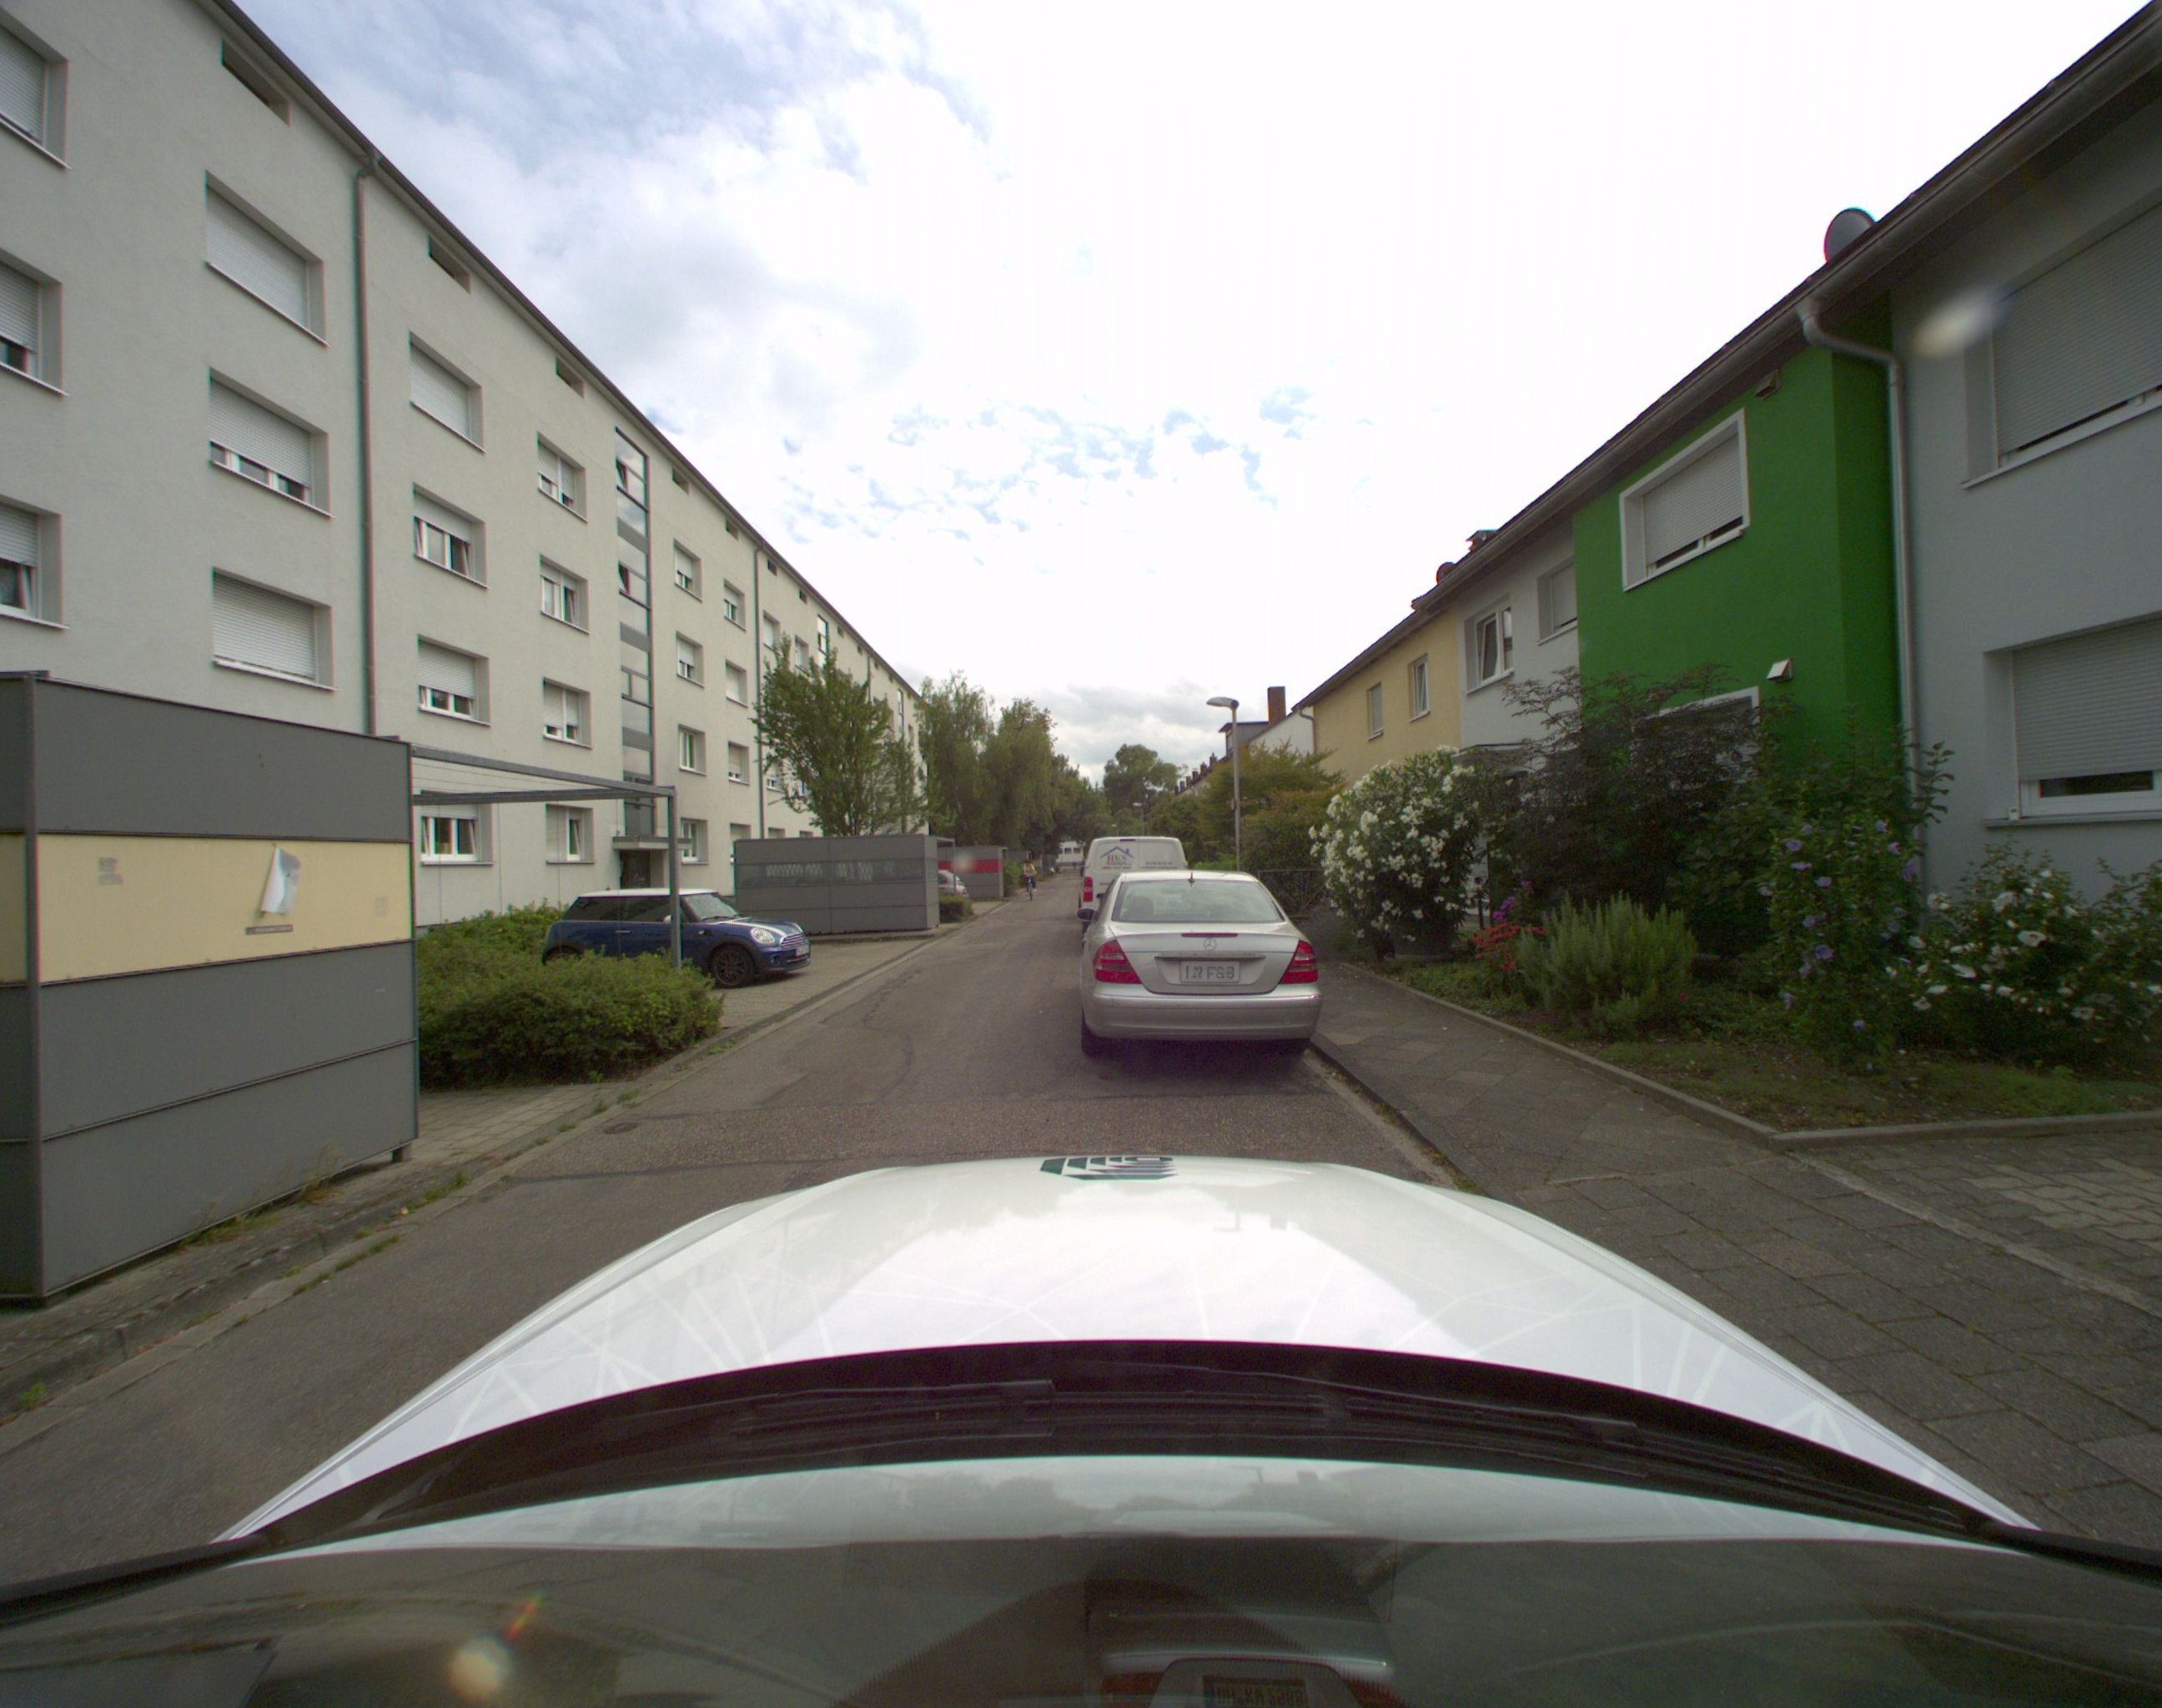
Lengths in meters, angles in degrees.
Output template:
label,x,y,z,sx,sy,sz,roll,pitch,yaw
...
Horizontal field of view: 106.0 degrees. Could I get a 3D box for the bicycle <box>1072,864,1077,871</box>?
label,x,y,z,sx,sy,sz,roll,pitch,yaw
bicycle,-1.081,2.227,136.365,0.686,1.131,2.580,0,-1,2

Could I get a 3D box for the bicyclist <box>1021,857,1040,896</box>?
label,x,y,z,sx,sy,sz,roll,pitch,yaw
bicyclist,-2.101,0.943,33.963,0.595,1.581,0.767,-3,-1,1

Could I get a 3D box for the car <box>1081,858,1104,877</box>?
label,x,y,z,sx,sy,sz,roll,pitch,yaw
car,0.954,1.102,67.830,1.820,1.581,3.998,0,0,-1

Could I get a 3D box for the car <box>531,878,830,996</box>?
label,x,y,z,sx,sy,sz,roll,pitch,yaw
car,-5.898,1.196,12.262,3.619,1.461,1.654,-3,-1,3

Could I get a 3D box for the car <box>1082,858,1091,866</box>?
label,x,y,z,sx,sy,sz,roll,pitch,yaw
car,1.202,1.678,165.530,1.819,1.581,4.000,0,0,1

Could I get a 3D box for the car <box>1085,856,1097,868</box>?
label,x,y,z,sx,sy,sz,roll,pitch,yaw
car,1.520,1.237,124.575,1.819,1.883,4.000,0,0,1

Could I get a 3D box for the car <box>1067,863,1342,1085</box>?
label,x,y,z,sx,sy,sz,roll,pitch,yaw
car,0.878,0.806,7.545,1.777,1.421,4.457,-1,-1,2

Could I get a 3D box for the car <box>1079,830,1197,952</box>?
label,x,y,z,sx,sy,sz,roll,pitch,yaw
car,0.924,0.623,15.899,1.898,1.964,5.252,-1,-1,0

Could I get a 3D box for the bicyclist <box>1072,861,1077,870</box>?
label,x,y,z,sx,sy,sz,roll,pitch,yaw
bicyclist,-1.078,1.881,136.439,0.795,1.511,0.934,0,-1,2

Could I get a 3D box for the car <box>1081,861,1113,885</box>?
label,x,y,z,sx,sy,sz,roll,pitch,yaw
car,0.949,1.113,49.107,1.819,1.370,4.331,0,0,1

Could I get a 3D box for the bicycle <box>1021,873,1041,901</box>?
label,x,y,z,sx,sy,sz,roll,pitch,yaw
bicycle,-2.079,1.350,33.992,0.595,1.076,2.043,-3,-1,2

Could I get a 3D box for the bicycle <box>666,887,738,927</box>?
label,x,y,z,sx,sy,sz,roll,pitch,yaw
bicycle,-10.999,1.524,23.660,1.820,1.024,0.473,-2,-1,-41

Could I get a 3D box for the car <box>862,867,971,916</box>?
label,x,y,z,sx,sy,sz,roll,pitch,yaw
car,-5.811,1.316,29.129,3.555,1.480,1.708,-3,0,-5

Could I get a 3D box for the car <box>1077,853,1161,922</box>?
label,x,y,z,sx,sy,sz,roll,pitch,yaw
car,0.904,0.812,21.586,1.820,1.636,4.158,-1,-1,-3
